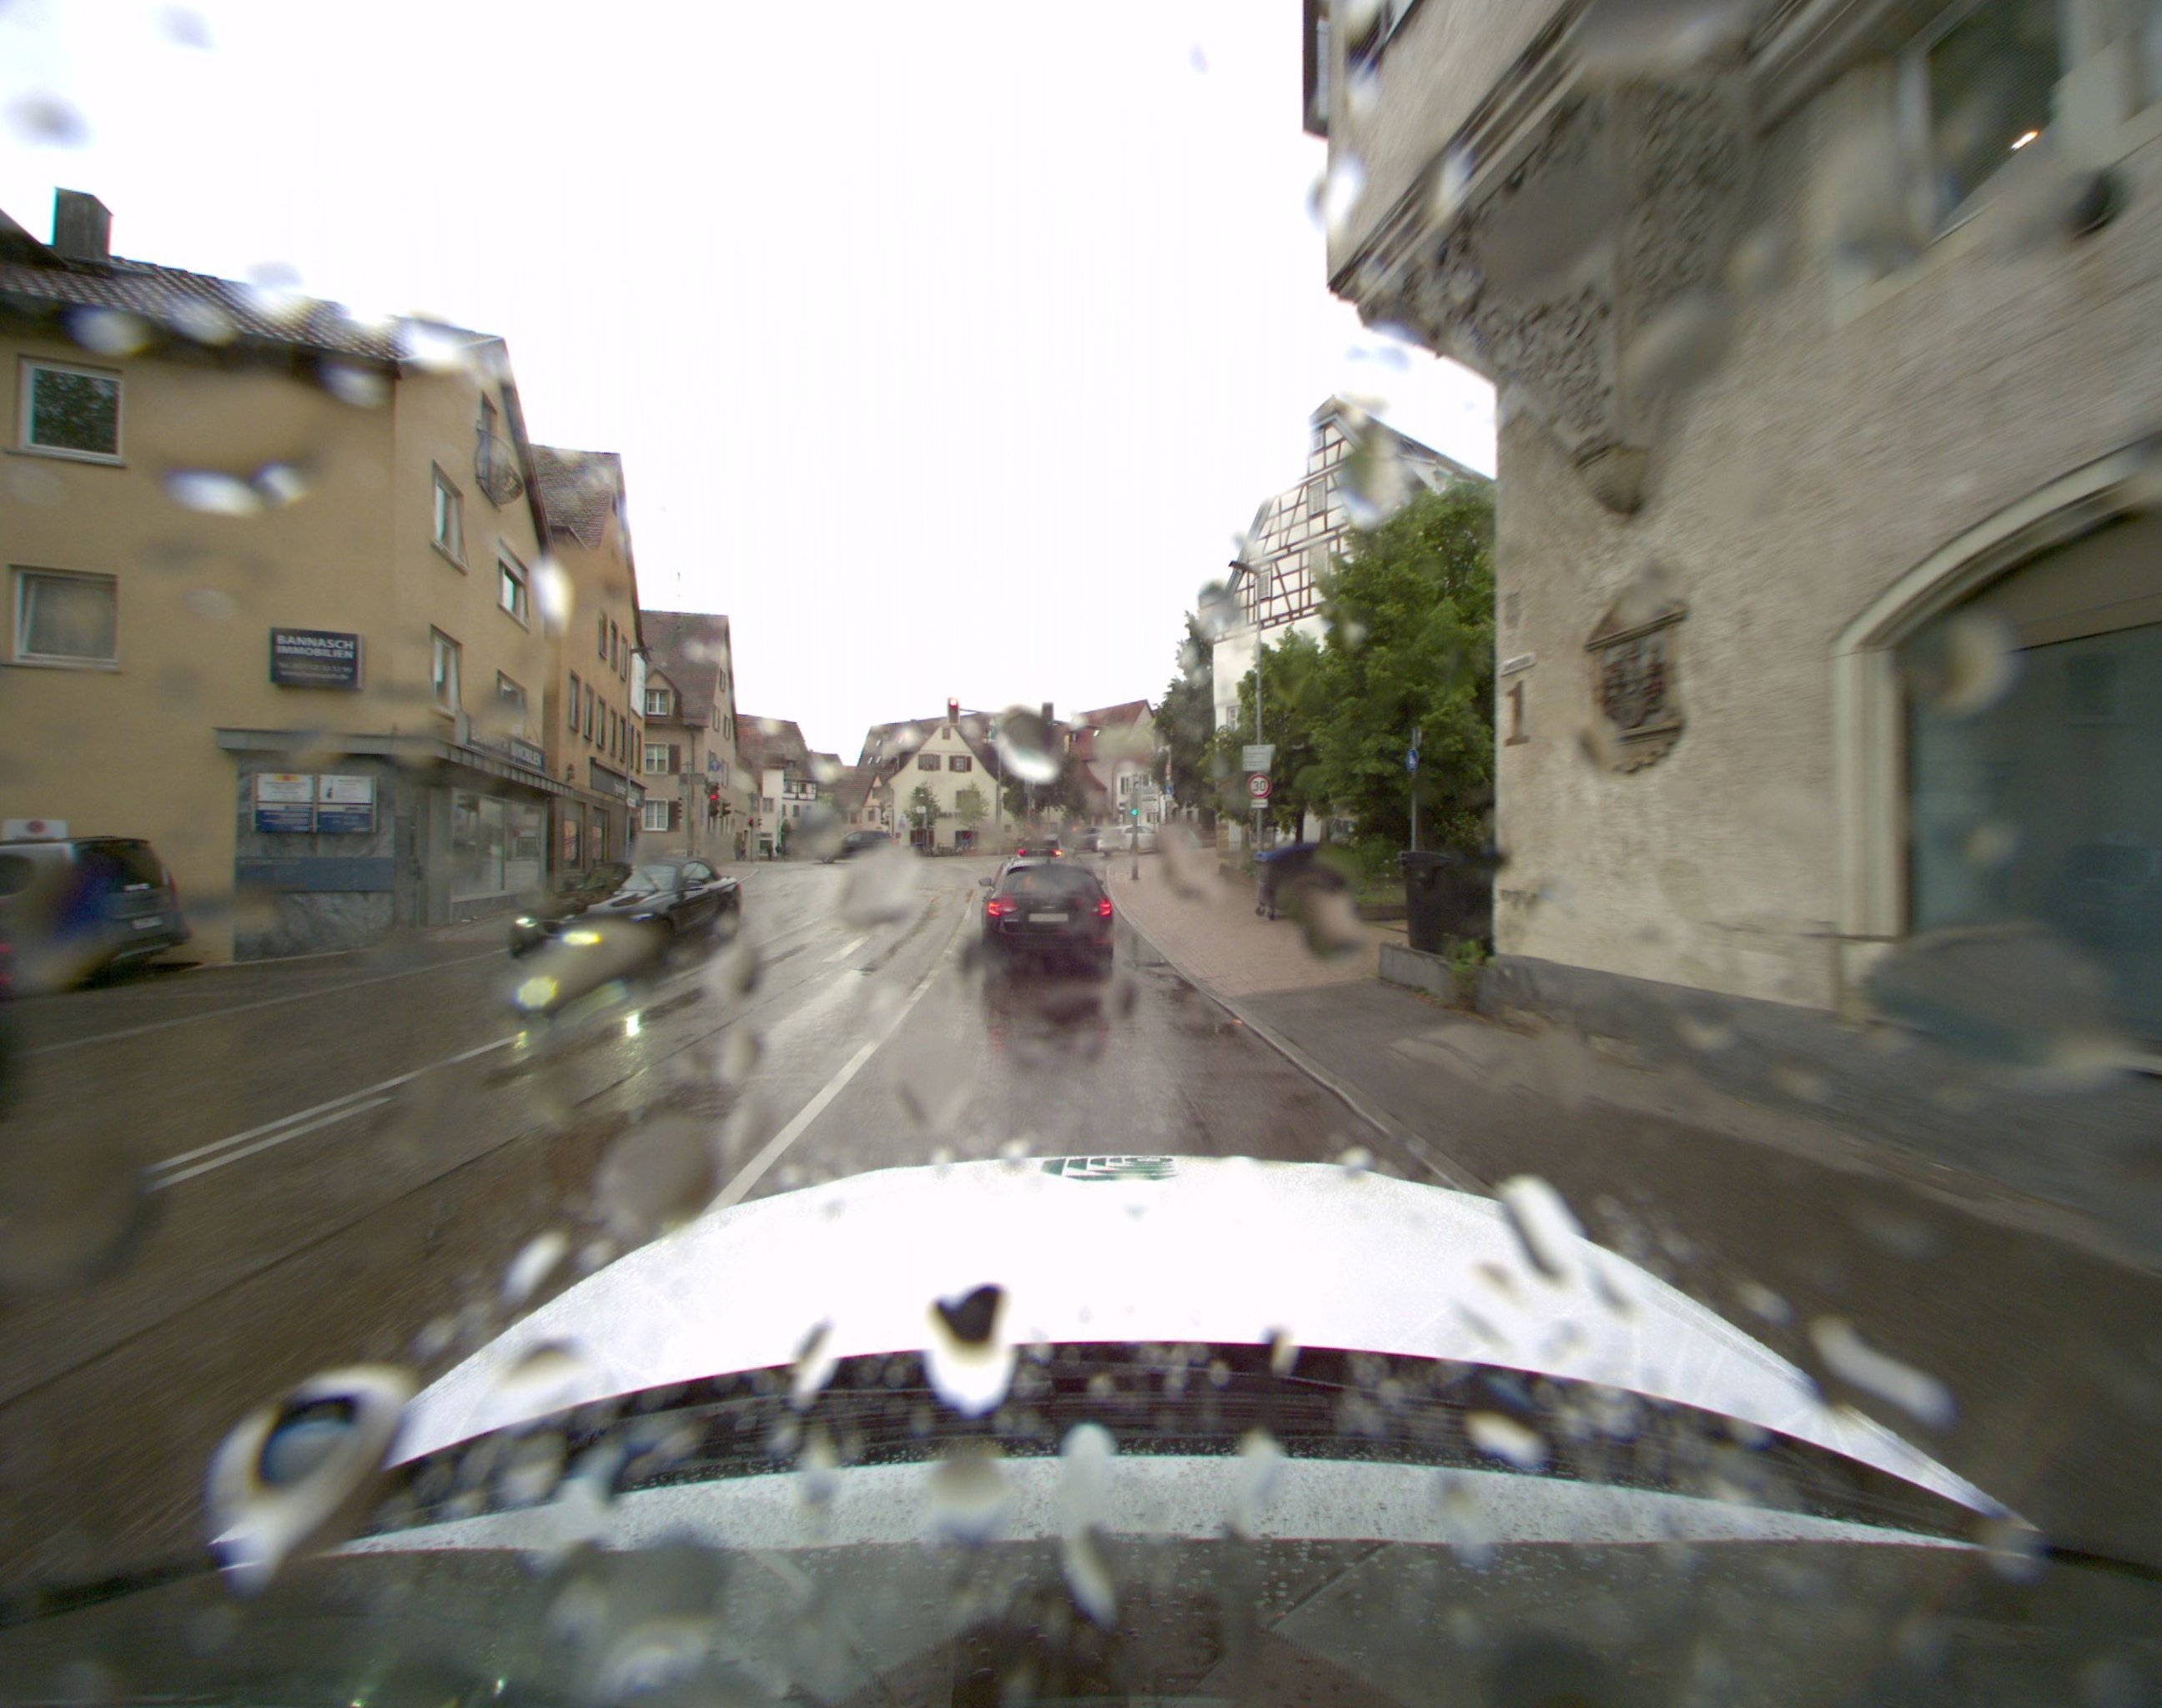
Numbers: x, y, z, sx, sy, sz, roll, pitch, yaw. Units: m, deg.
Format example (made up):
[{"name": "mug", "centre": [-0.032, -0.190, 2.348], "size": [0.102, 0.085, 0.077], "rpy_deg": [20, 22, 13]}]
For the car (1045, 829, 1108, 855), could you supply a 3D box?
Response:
[{"name": "car", "centre": [-0.289, -0.695, 46.808], "size": [3.383, 1.477, 1.529], "rpy_deg": [-1, 1, -13]}]

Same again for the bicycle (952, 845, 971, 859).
[{"name": "bicycle", "centre": [-8.379, -0.144, 57.138], "size": [0.387, 0.912, 1.479], "rpy_deg": [0, 1, 41]}]

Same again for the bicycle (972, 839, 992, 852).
[{"name": "bicycle", "centre": [-7.139, -0.645, 58.860], "size": [1.476, 0.912, 0.388], "rpy_deg": [-2, 4, -37]}]

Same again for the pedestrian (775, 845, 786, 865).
[{"name": "pedestrian", "centre": [-27.181, 0.078, 73.637], "size": [0.780, 1.731, 0.627], "rpy_deg": [-2, 2, -16]}]

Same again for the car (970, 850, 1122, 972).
[{"name": "car", "centre": [-0.410, 0.704, 12.308], "size": [1.880, 1.448, 4.357], "rpy_deg": [-1, 1, 0]}]

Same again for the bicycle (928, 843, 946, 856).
[{"name": "bicycle", "centre": [-9.930, -0.289, 56.298], "size": [0.334, 0.818, 1.446], "rpy_deg": [3, 4, 32]}]

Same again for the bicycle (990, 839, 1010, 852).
[{"name": "bicycle", "centre": [-5.972, -0.640, 59.876], "size": [1.476, 0.912, 0.388], "rpy_deg": [-2, 4, -37]}]

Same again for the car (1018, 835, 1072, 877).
[{"name": "car", "centre": [-1.307, 0.039, 30.776], "size": [1.850, 1.473, 4.000], "rpy_deg": [-1, 1, 0]}]

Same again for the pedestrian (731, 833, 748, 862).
[{"name": "pedestrian", "centre": [-22.502, -0.445, 53.626], "size": [0.802, 1.830, 0.707], "rpy_deg": [-5, 3, -34]}]

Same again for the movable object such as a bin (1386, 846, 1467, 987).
[{"name": "movable object such as a bin", "centre": [3.680, 0.647, 8.699], "size": [0.414, 1.442, 0.638], "rpy_deg": [0, -2, -28]}]

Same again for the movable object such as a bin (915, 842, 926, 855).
[{"name": "movable object such as a bin", "centre": [-11.274, -0.381, 57.126], "size": [0.591, 0.901, 0.578], "rpy_deg": [-1, 2, -35]}]

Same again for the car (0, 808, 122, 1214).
[{"name": "car", "centre": [-5.924, 0.721, 2.021], "size": [1.989, 1.882, 4.373], "rpy_deg": [0, 0, -3]}]

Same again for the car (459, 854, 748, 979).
[{"name": "car", "centre": [-6.494, 0.729, 11.743], "size": [1.857, 1.387, 4.257], "rpy_deg": [-1, 1, -4]}]

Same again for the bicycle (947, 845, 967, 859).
[{"name": "bicycle", "centre": [-8.715, -0.140, 57.454], "size": [0.387, 0.912, 1.479], "rpy_deg": [0, 1, 41]}]

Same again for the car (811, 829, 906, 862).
[{"name": "car", "centre": [-11.756, -0.483, 43.134], "size": [4.745, 1.588, 1.820], "rpy_deg": [-2, 1, -17]}]

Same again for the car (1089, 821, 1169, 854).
[{"name": "car", "centre": [2.474, -0.794, 41.073], "size": [1.867, 1.596, 4.353], "rpy_deg": [0, 0, 37]}]

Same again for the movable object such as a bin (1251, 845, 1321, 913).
[{"name": "movable object such as a bin", "centre": [4.101, 0.486, 16.393], "size": [1.150, 1.313, 1.187], "rpy_deg": [0, 0, 2]}]

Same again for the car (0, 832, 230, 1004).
[{"name": "car", "centre": [-13.889, 0.895, 9.490], "size": [4.940, 1.824, 1.948], "rpy_deg": [-7, 5, -23]}]

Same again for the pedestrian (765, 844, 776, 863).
[{"name": "pedestrian", "centre": [-27.995, -0.048, 73.402], "size": [0.780, 1.731, 0.627], "rpy_deg": [-2, 2, -16]}]
